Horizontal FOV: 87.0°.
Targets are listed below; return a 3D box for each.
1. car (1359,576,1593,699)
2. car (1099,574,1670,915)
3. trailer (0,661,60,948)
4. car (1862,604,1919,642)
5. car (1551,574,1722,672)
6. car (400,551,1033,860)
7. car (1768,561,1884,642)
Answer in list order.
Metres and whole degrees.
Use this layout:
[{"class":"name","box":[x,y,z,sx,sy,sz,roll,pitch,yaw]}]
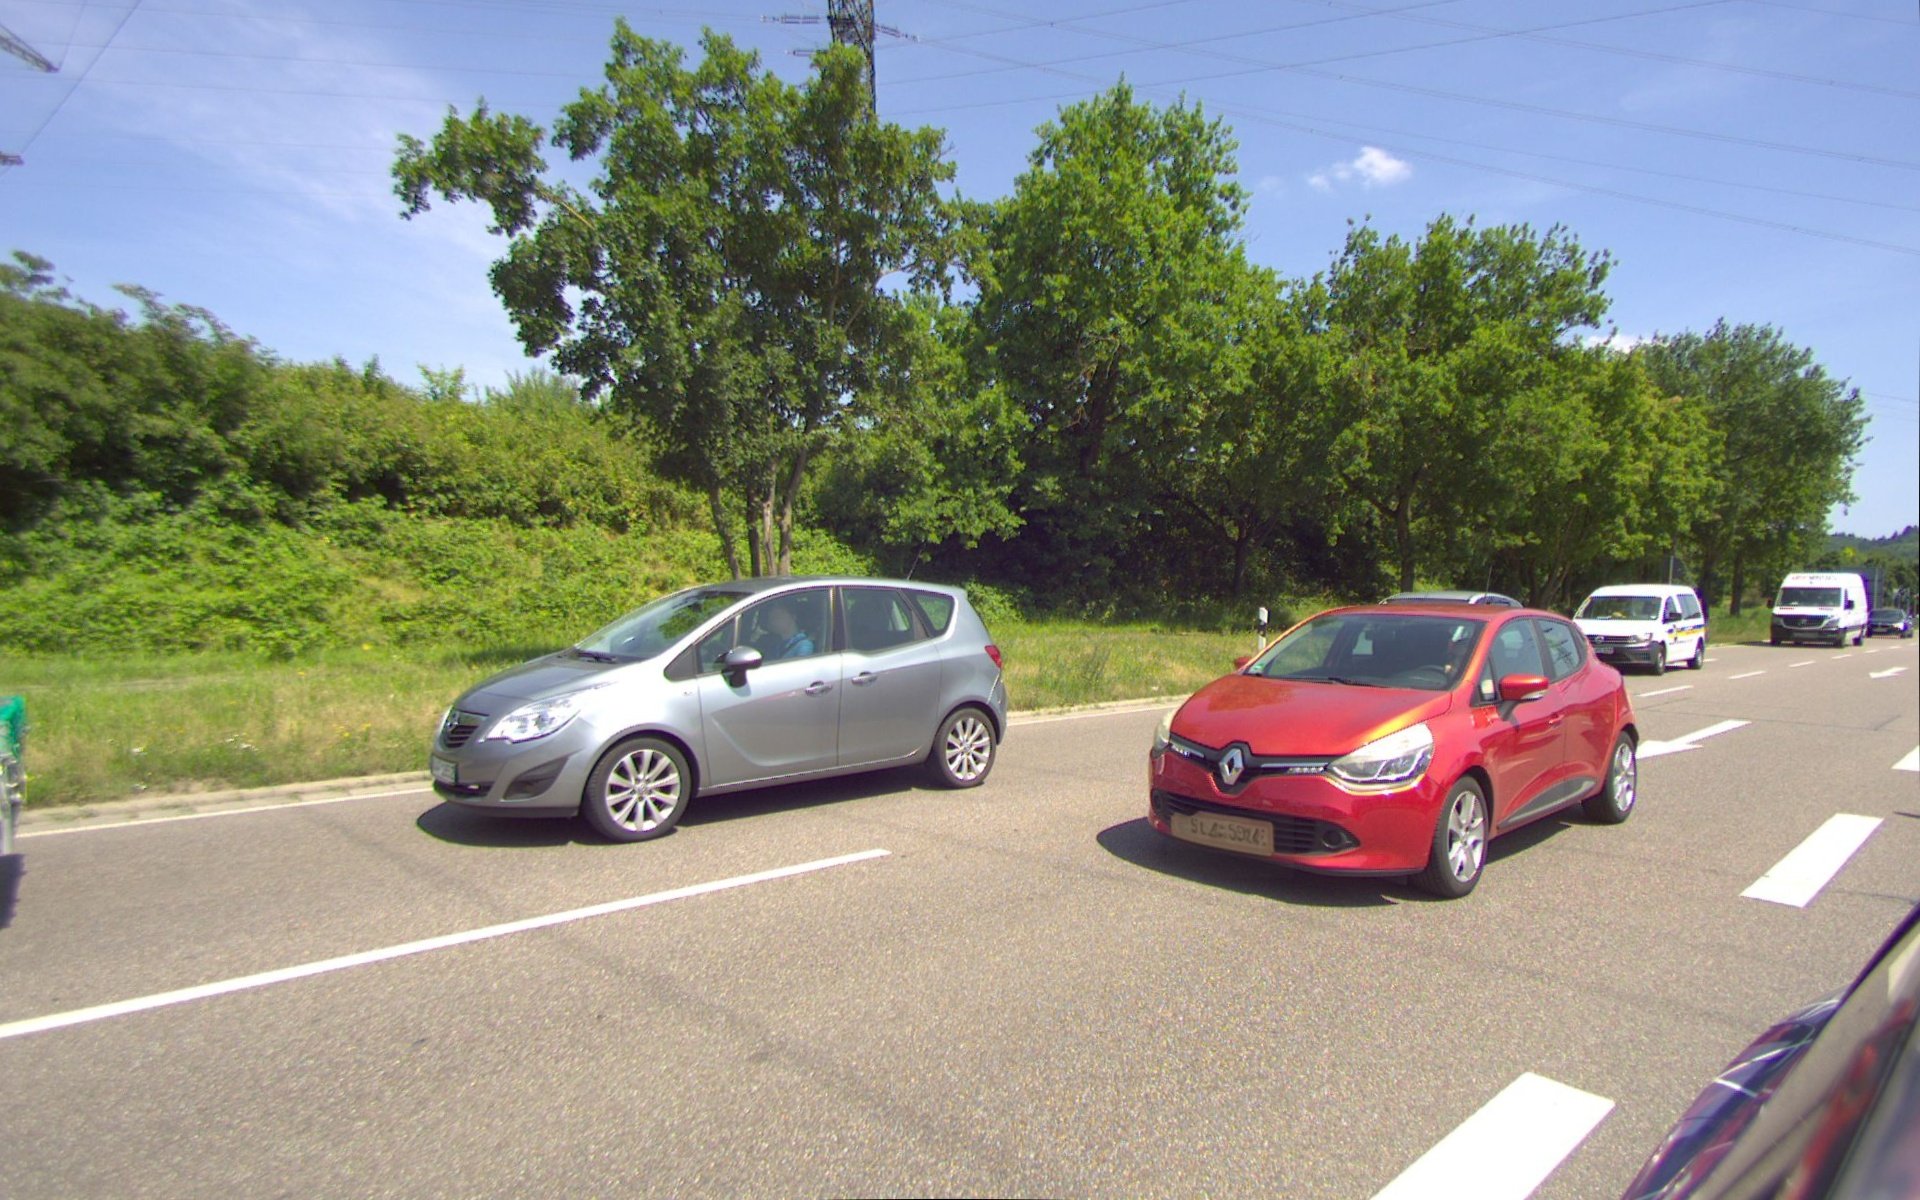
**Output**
[{"class":"car","box":[7.924,0.496,15.376,4.197,1.614,1.746,0,0,-41]},{"class":"car","box":[2.856,0.624,6.373,3.994,1.480,1.746,0,0,-41]},{"class":"trailer","box":[-5.443,0.840,3.626,3.265,1.019,1.709,0,0,-41]},{"class":"car","box":[45.906,1.077,49.856,3.933,1.705,1.875,-1,1,-43]},{"class":"car","box":[14.308,0.429,21.287,4.950,1.823,1.807,0,0,-42]},{"class":"car","box":[-1.549,0.535,7.308,4.092,1.615,1.768,0,1,-41]},{"class":"car","box":[30.935,0.052,36.067,6.897,2.640,2.230,0,0,-42]}]
